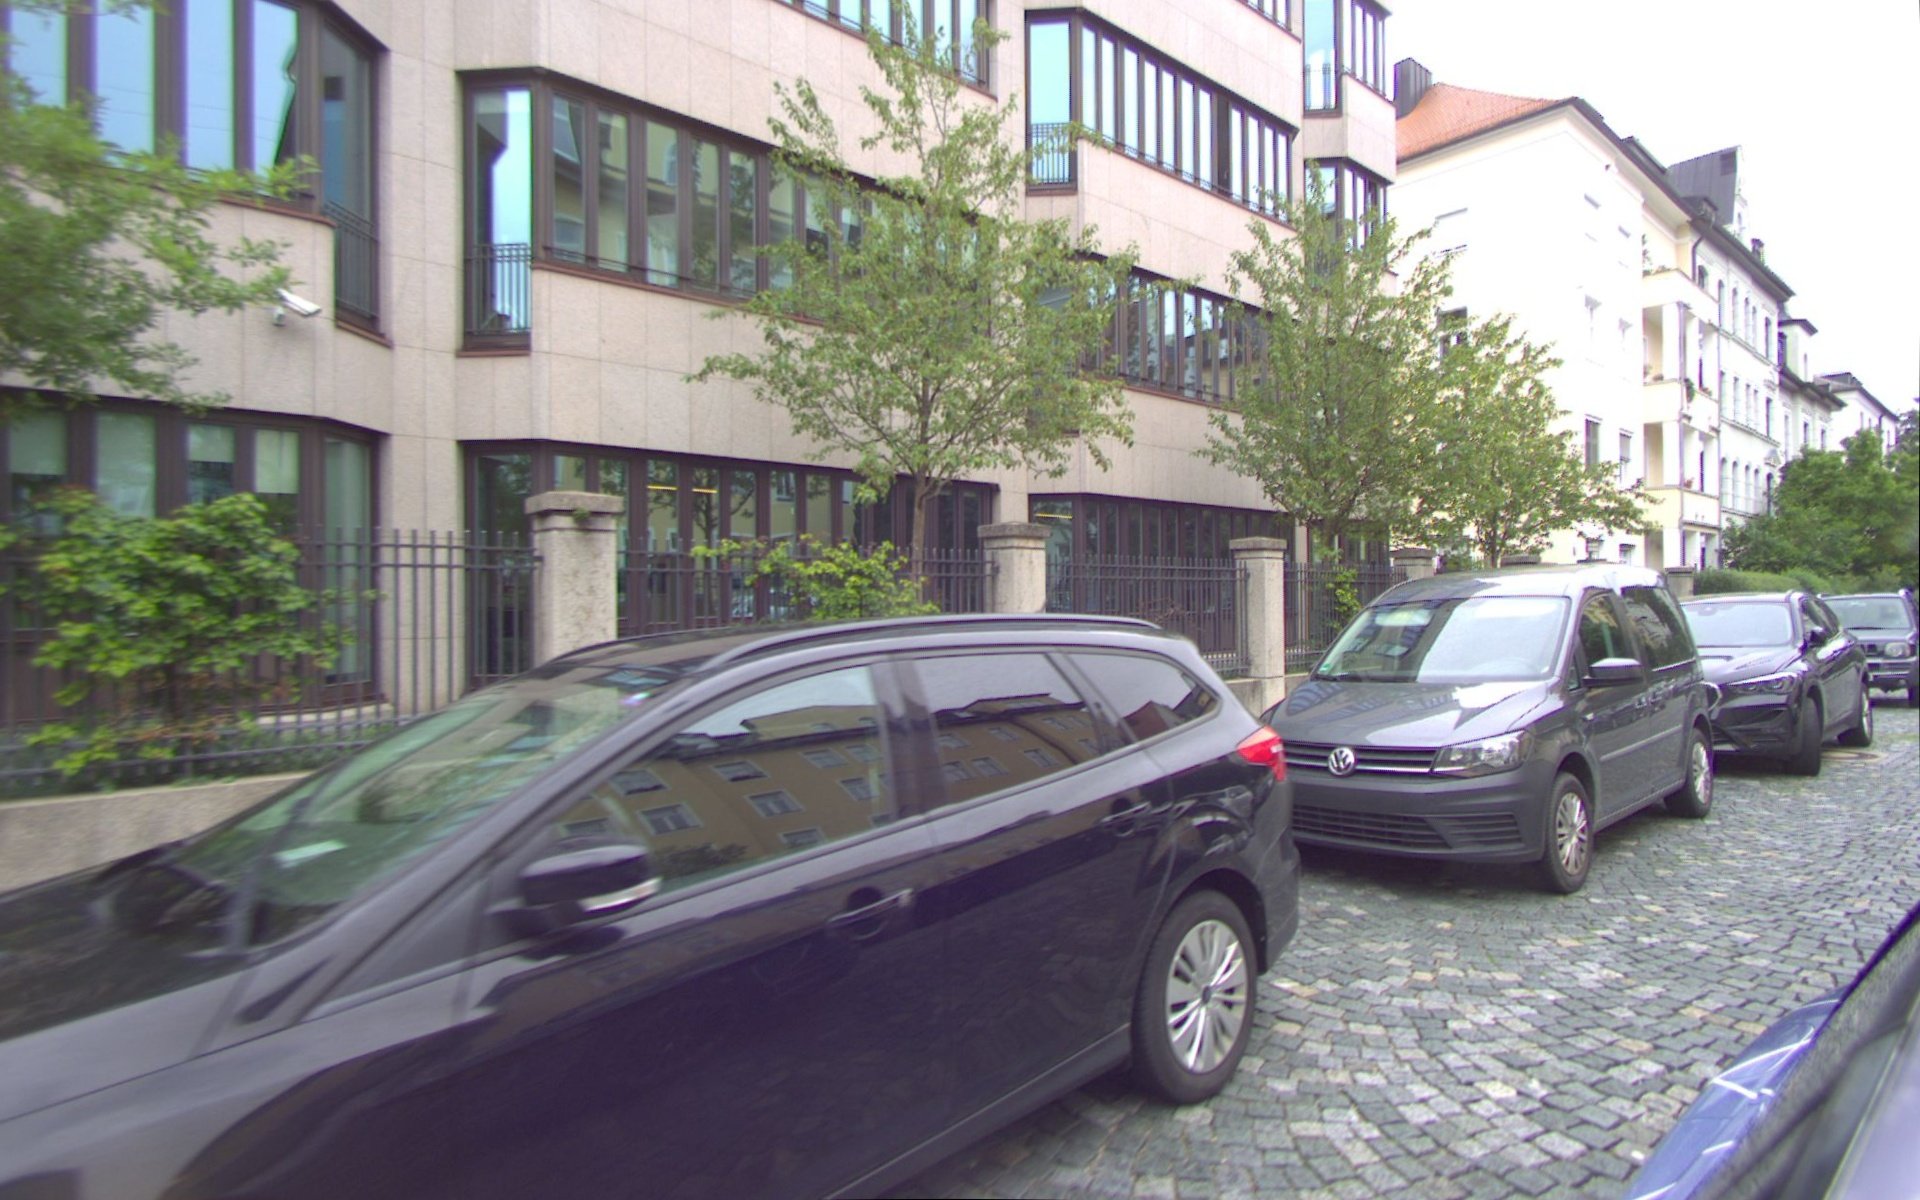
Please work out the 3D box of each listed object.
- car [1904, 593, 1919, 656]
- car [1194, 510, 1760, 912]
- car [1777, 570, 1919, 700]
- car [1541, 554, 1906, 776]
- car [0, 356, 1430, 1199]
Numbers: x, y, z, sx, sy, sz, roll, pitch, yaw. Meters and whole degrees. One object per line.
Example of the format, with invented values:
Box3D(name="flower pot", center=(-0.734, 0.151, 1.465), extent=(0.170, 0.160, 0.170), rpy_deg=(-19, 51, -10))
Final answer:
Box3D(name="car", center=(26.072, 0.545, 26.052), extent=(4.927, 1.572, 1.996), rpy_deg=(-1, -3, -41))
Box3D(name="car", center=(3.665, 0.549, 6.760), extent=(4.432, 1.820, 1.789), rpy_deg=(0, -4, -42))
Box3D(name="car", center=(14.098, 0.514, 15.633), extent=(3.820, 1.774, 1.620), rpy_deg=(0, -3, -42))
Box3D(name="car", center=(7.800, 0.543, 10.146), extent=(4.729, 1.724, 1.863), rpy_deg=(-1, -3, -41))
Box3D(name="car", center=(-0.650, 0.630, 2.939), extent=(4.578, 1.758, 1.875), rpy_deg=(0, -4, -42))
